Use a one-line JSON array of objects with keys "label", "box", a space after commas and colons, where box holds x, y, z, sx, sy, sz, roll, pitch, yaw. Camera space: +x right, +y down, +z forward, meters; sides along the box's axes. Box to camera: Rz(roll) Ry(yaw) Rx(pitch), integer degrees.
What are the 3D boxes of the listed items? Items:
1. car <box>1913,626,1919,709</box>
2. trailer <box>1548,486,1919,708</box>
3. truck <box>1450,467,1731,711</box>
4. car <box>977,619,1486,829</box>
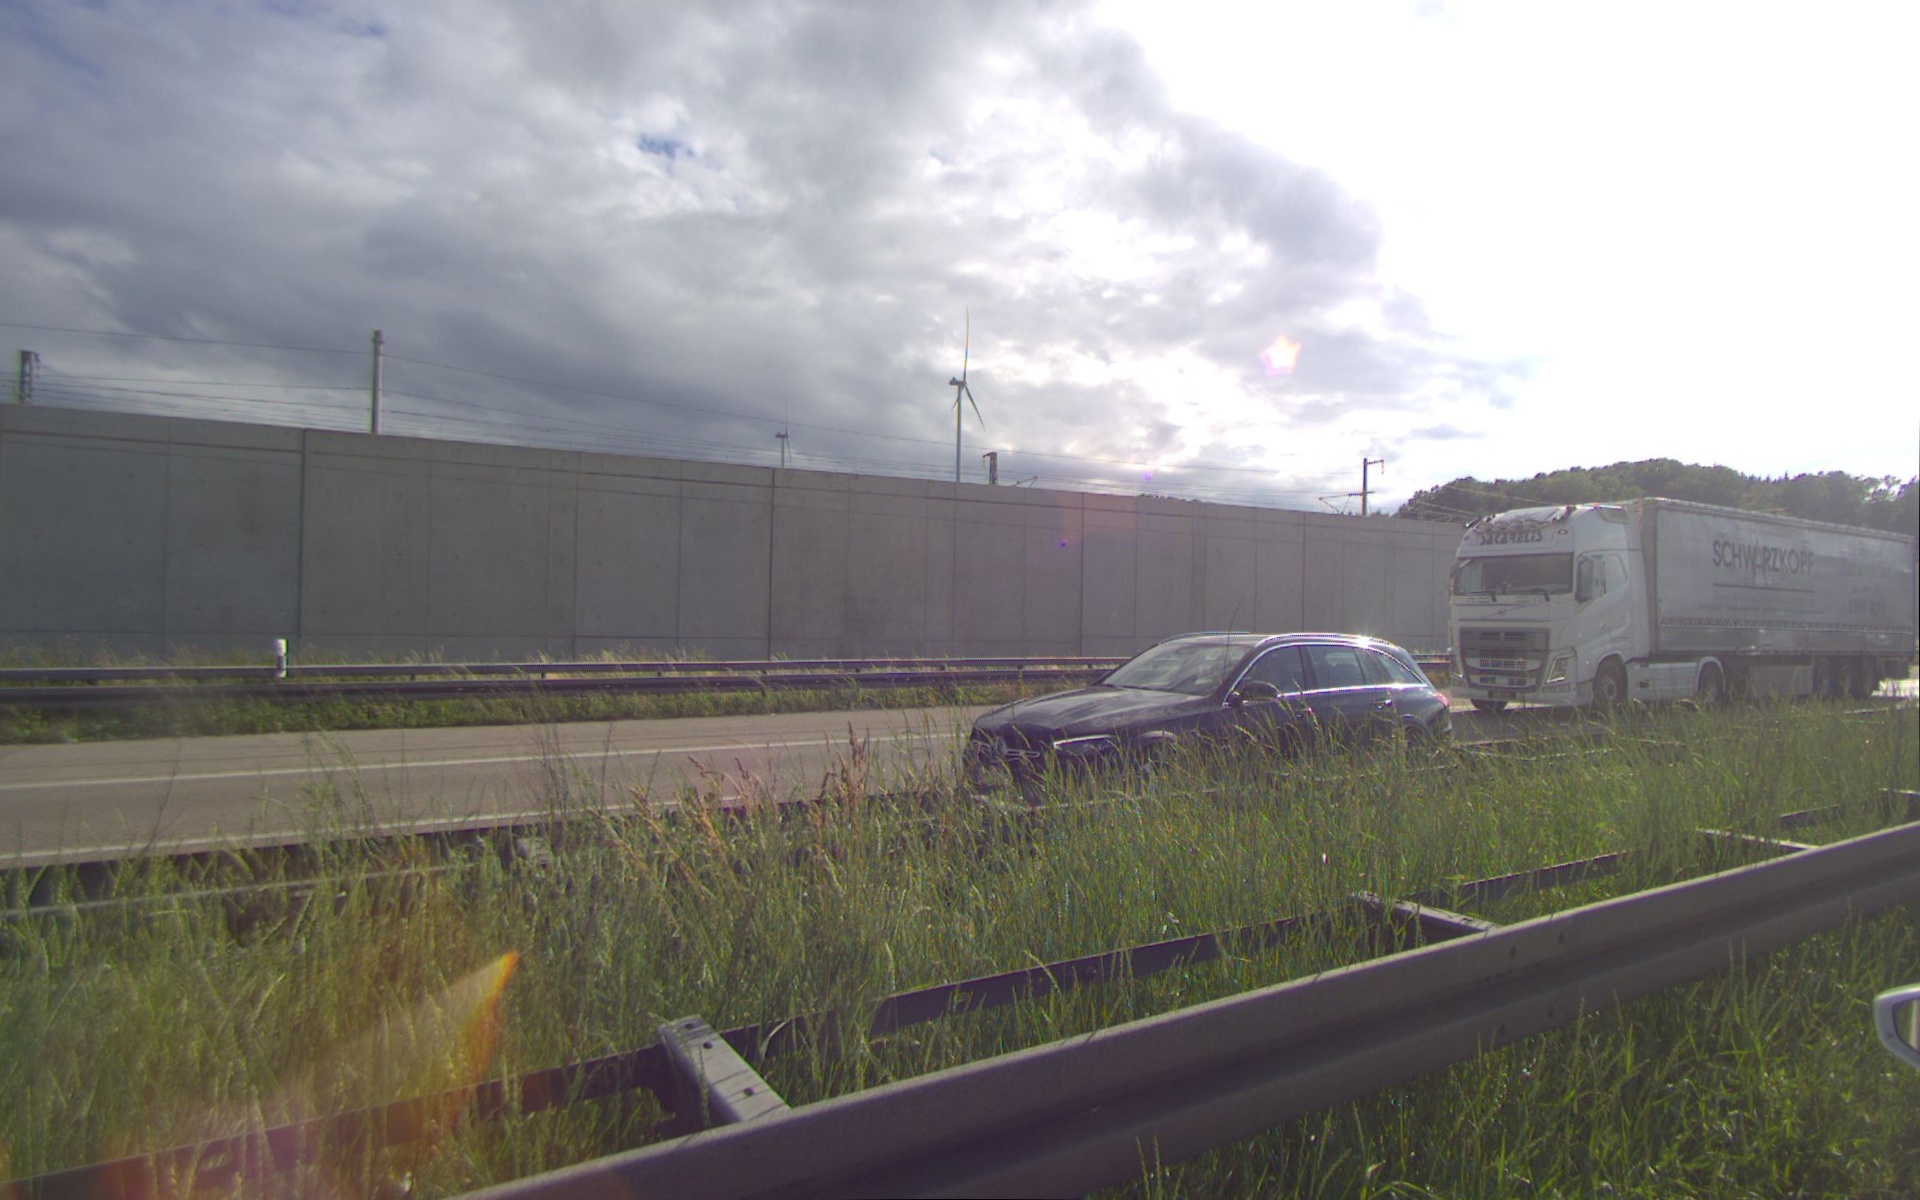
[{"label": "car", "box": [22.313, 1.476, 21.581, 4.127, 1.728, 1.699, 2, -1, -32]}, {"label": "trailer", "box": [18.671, 0.147, 23.618, 13.050, 4.237, 2.378, 2, -2, -31]}, {"label": "truck", "box": [12.630, -0.093, 19.999, 5.864, 4.236, 2.368, 2, -2, -31]}, {"label": "car", "box": [2.378, 0.892, 8.485, 4.183, 1.375, 1.733, 2, -1, -31]}]
